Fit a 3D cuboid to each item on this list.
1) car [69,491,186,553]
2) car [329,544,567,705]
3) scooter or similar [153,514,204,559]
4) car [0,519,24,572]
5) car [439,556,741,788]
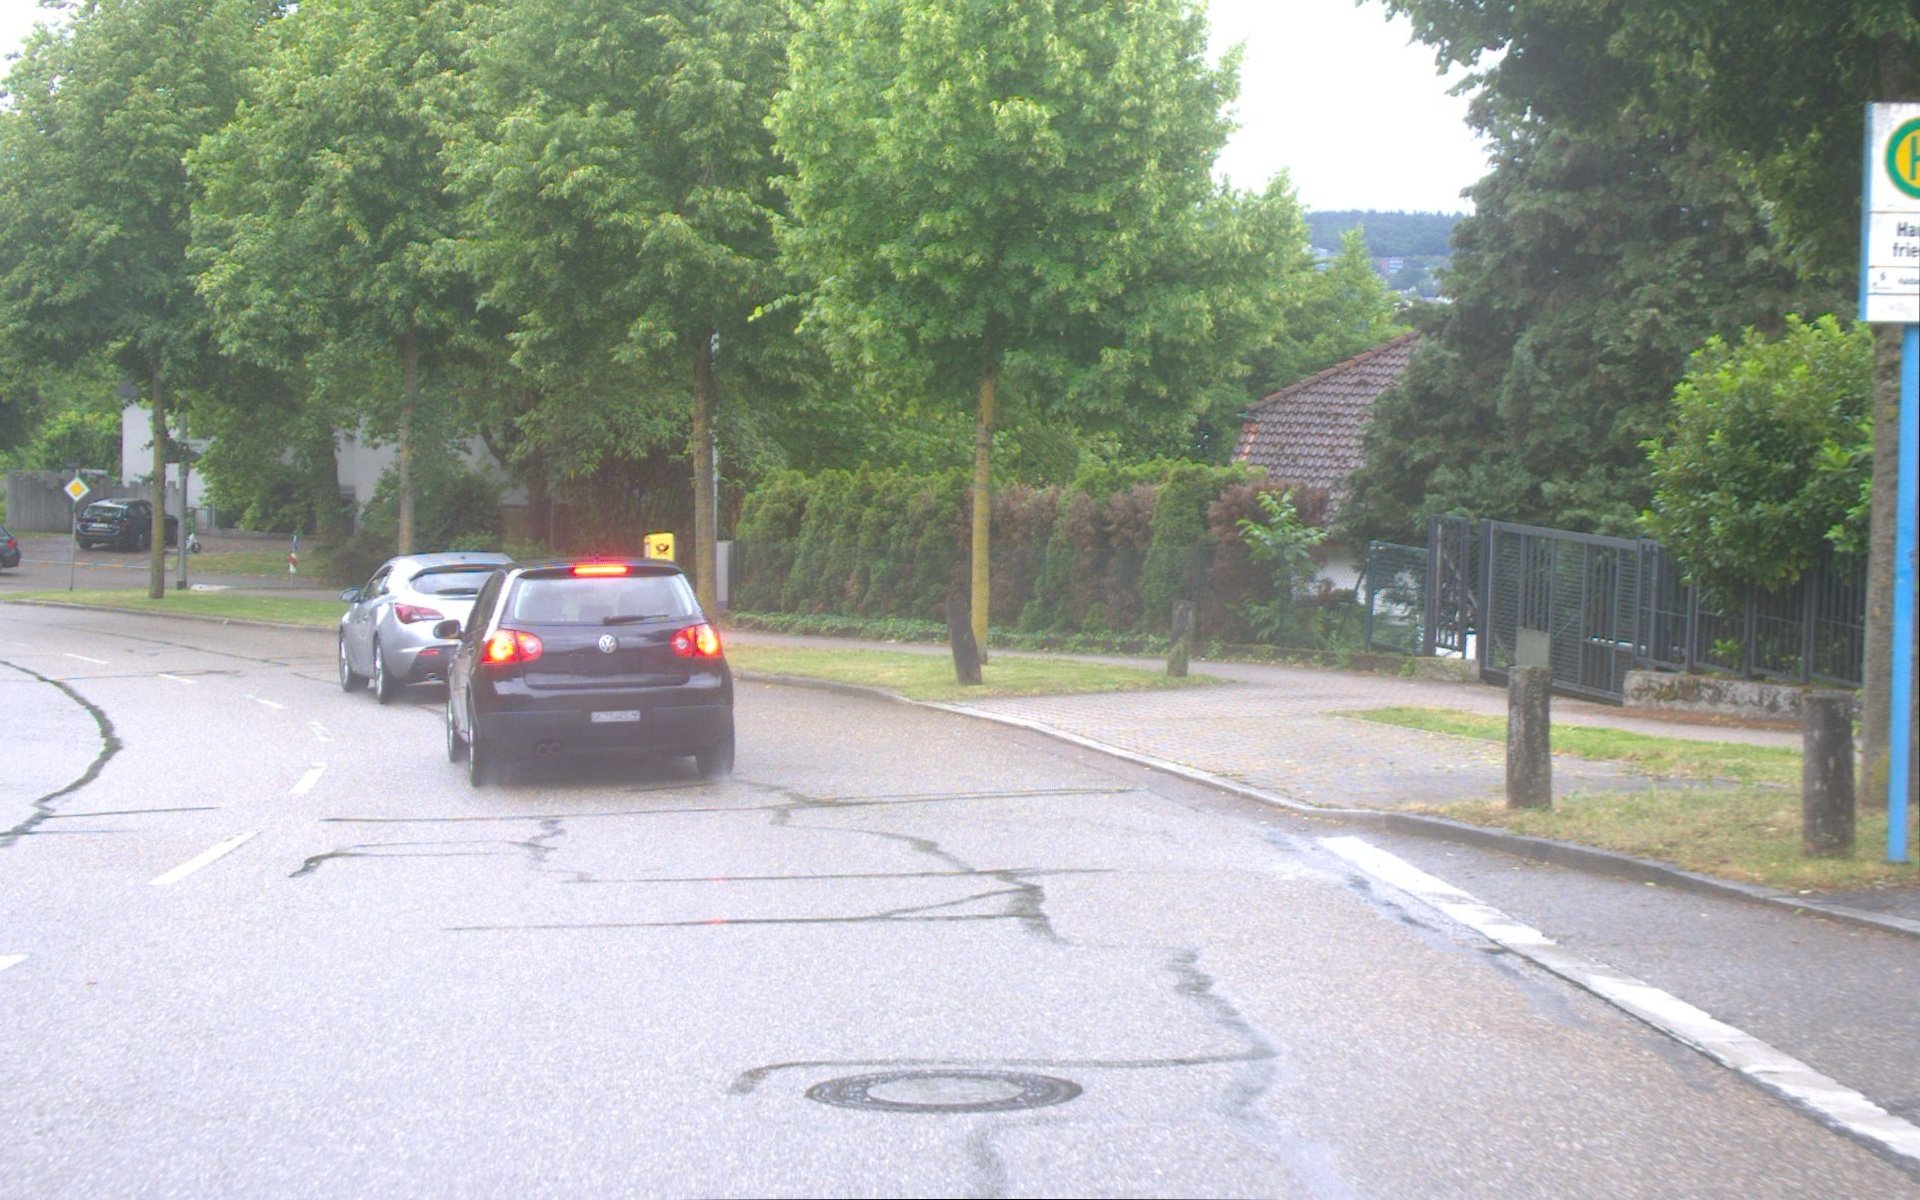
[{"bbox_3d":[-24.587,-2.331,101.629,1.751,1.464,4.565,4,5,8],"label":"car"},{"bbox_3d":[-5.301,0.204,35.223,1.754,1.459,4.002,0,2,-18],"label":"car"},{"bbox_3d":[-22.737,-1.856,100.022,1.335,1.281,0.562,-2,3,-35],"label":"scooter or similar"},{"bbox_3d":[-26.855,-1.440,90.381,4.125,1.379,1.727,0,1,-23],"label":"car"},{"bbox_3d":[-2.640,0.434,23.816,1.721,1.459,4.001,0,1,-11],"label":"car"}]
